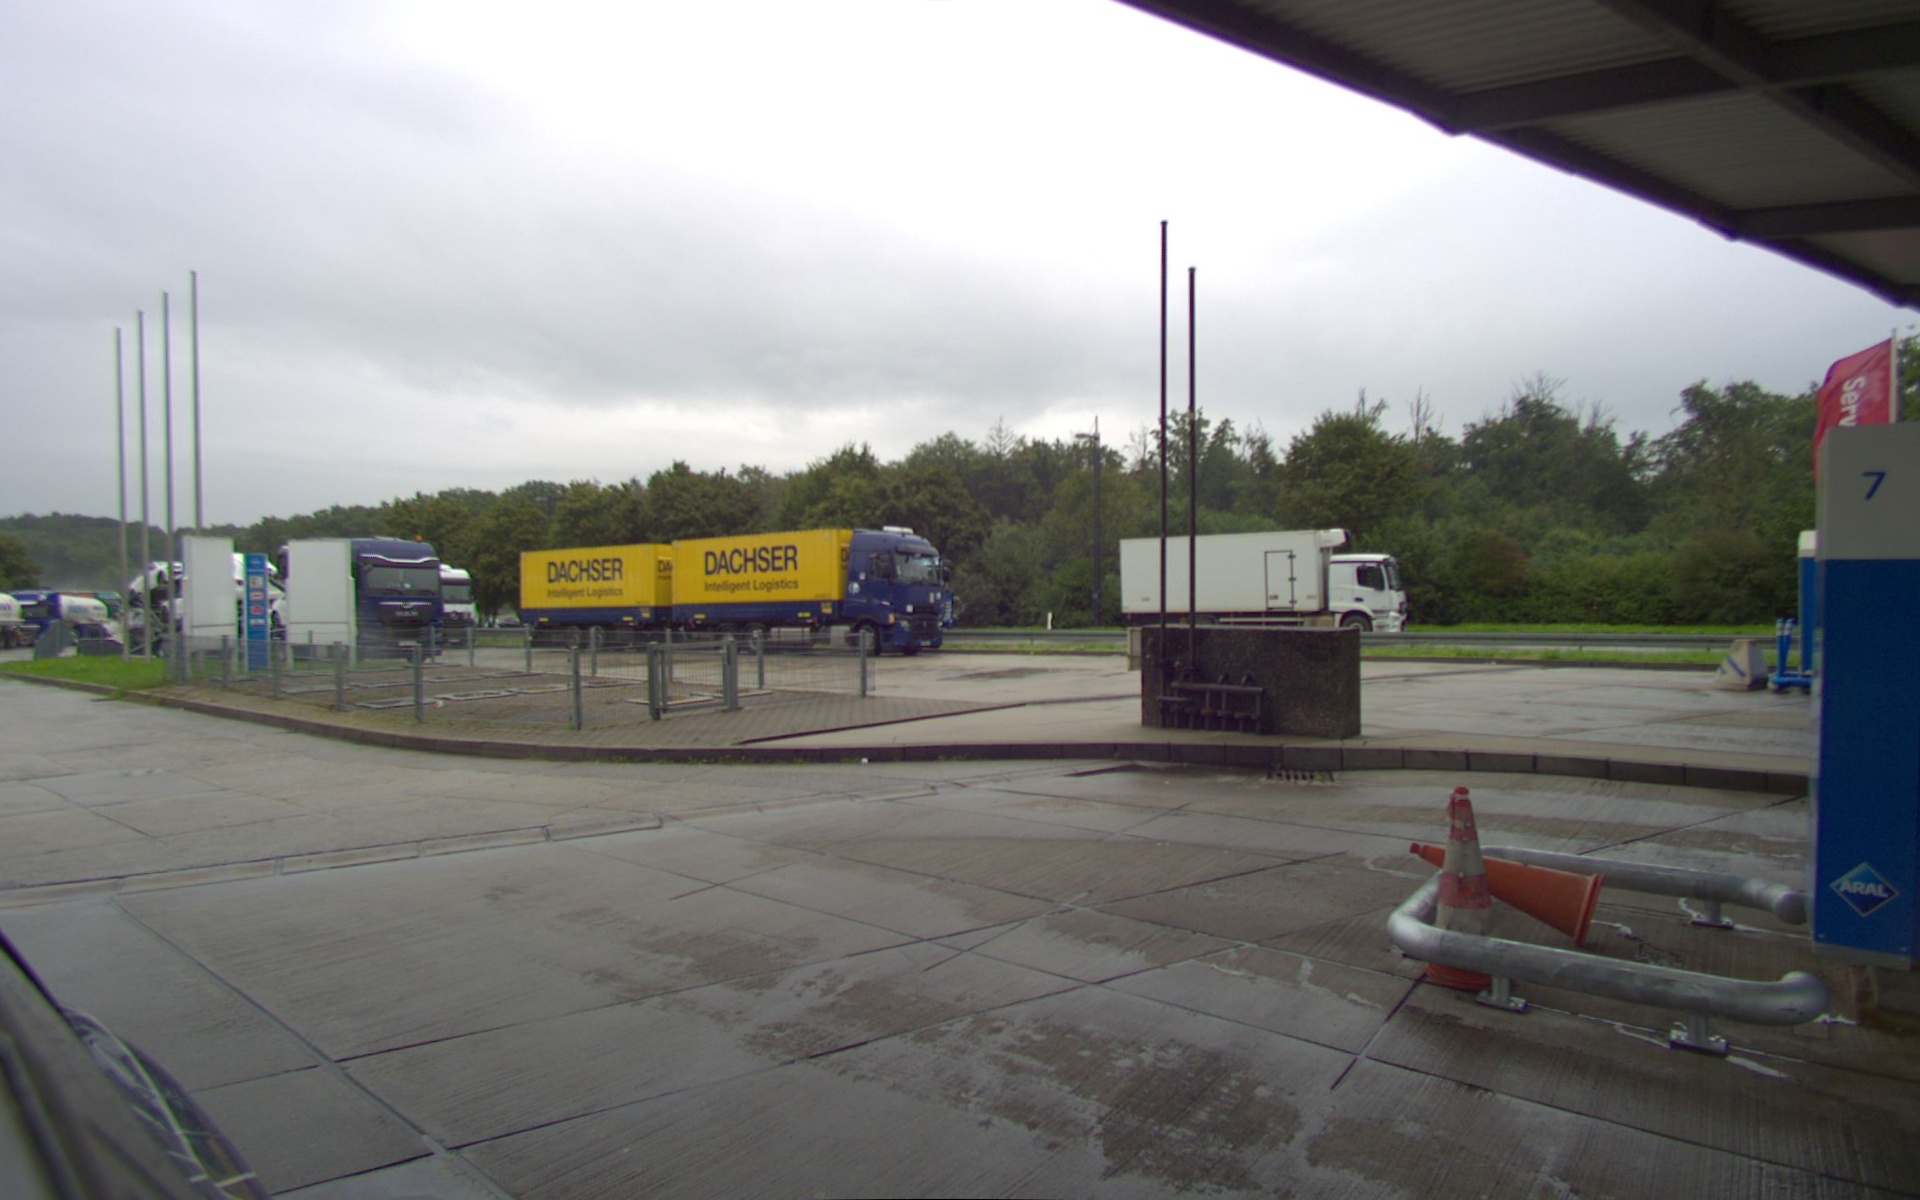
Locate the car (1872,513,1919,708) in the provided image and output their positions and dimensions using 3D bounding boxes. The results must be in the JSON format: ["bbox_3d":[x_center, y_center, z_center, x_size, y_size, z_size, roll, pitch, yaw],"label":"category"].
[{"bbox_3d":[14.865,0.106,12.370,5.272,2.482,2.298,-1,-2,37],"label":"car"}]

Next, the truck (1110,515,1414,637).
[{"bbox_3d":[11.050,-0.744,37.710,10.433,4.063,2.961,-1,0,30],"label":"truck"}]

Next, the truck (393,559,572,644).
[{"bbox_3d":[-24.783,0.136,52.274,10.433,4.063,2.961,-1,0,30],"label":"truck"}]

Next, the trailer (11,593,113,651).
[{"bbox_3d":[-62.272,1.431,70.482,2.854,3.666,10.605,-1,0,-28],"label":"trailer"}]

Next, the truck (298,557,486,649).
[{"bbox_3d":[-27.304,0.171,48.445,10.433,4.063,2.961,-1,0,30],"label":"truck"}]

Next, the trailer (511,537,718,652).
[{"bbox_3d":[-13.549,-0.172,39.288,8.833,4.063,2.743,-1,0,33],"label":"trailer"}]

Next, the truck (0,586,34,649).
[{"bbox_3d":[-55.560,1.016,55.016,3.196,3.591,12.013,-1,0,-19],"label":"truck"}]

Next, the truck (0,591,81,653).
[{"bbox_3d":[-59.426,1.368,64.995,3.000,3.795,6.486,-1,0,-27],"label":"truck"}]

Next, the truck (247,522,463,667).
[{"bbox_3d":[-18.996,-0.118,31.621,7.244,4.063,2.957,-1,0,34],"label":"truck"}]

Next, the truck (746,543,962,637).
[{"bbox_3d":[-5.143,-0.383,47.689,10.433,4.063,2.961,-1,0,30],"label":"truck"}]

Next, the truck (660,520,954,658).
[{"bbox_3d":[-5.393,-0.277,33.954,10.608,4.063,2.743,-1,0,33],"label":"truck"}]

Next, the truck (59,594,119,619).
[{"bbox_3d":[-131.430,0.973,152.609,14.626,3.591,3.215,-1,-1,34],"label":"truck"}]

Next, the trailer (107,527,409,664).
[{"bbox_3d":[-25.420,-0.060,35.924,16.563,4.063,2.957,-1,0,34],"label":"trailer"}]
